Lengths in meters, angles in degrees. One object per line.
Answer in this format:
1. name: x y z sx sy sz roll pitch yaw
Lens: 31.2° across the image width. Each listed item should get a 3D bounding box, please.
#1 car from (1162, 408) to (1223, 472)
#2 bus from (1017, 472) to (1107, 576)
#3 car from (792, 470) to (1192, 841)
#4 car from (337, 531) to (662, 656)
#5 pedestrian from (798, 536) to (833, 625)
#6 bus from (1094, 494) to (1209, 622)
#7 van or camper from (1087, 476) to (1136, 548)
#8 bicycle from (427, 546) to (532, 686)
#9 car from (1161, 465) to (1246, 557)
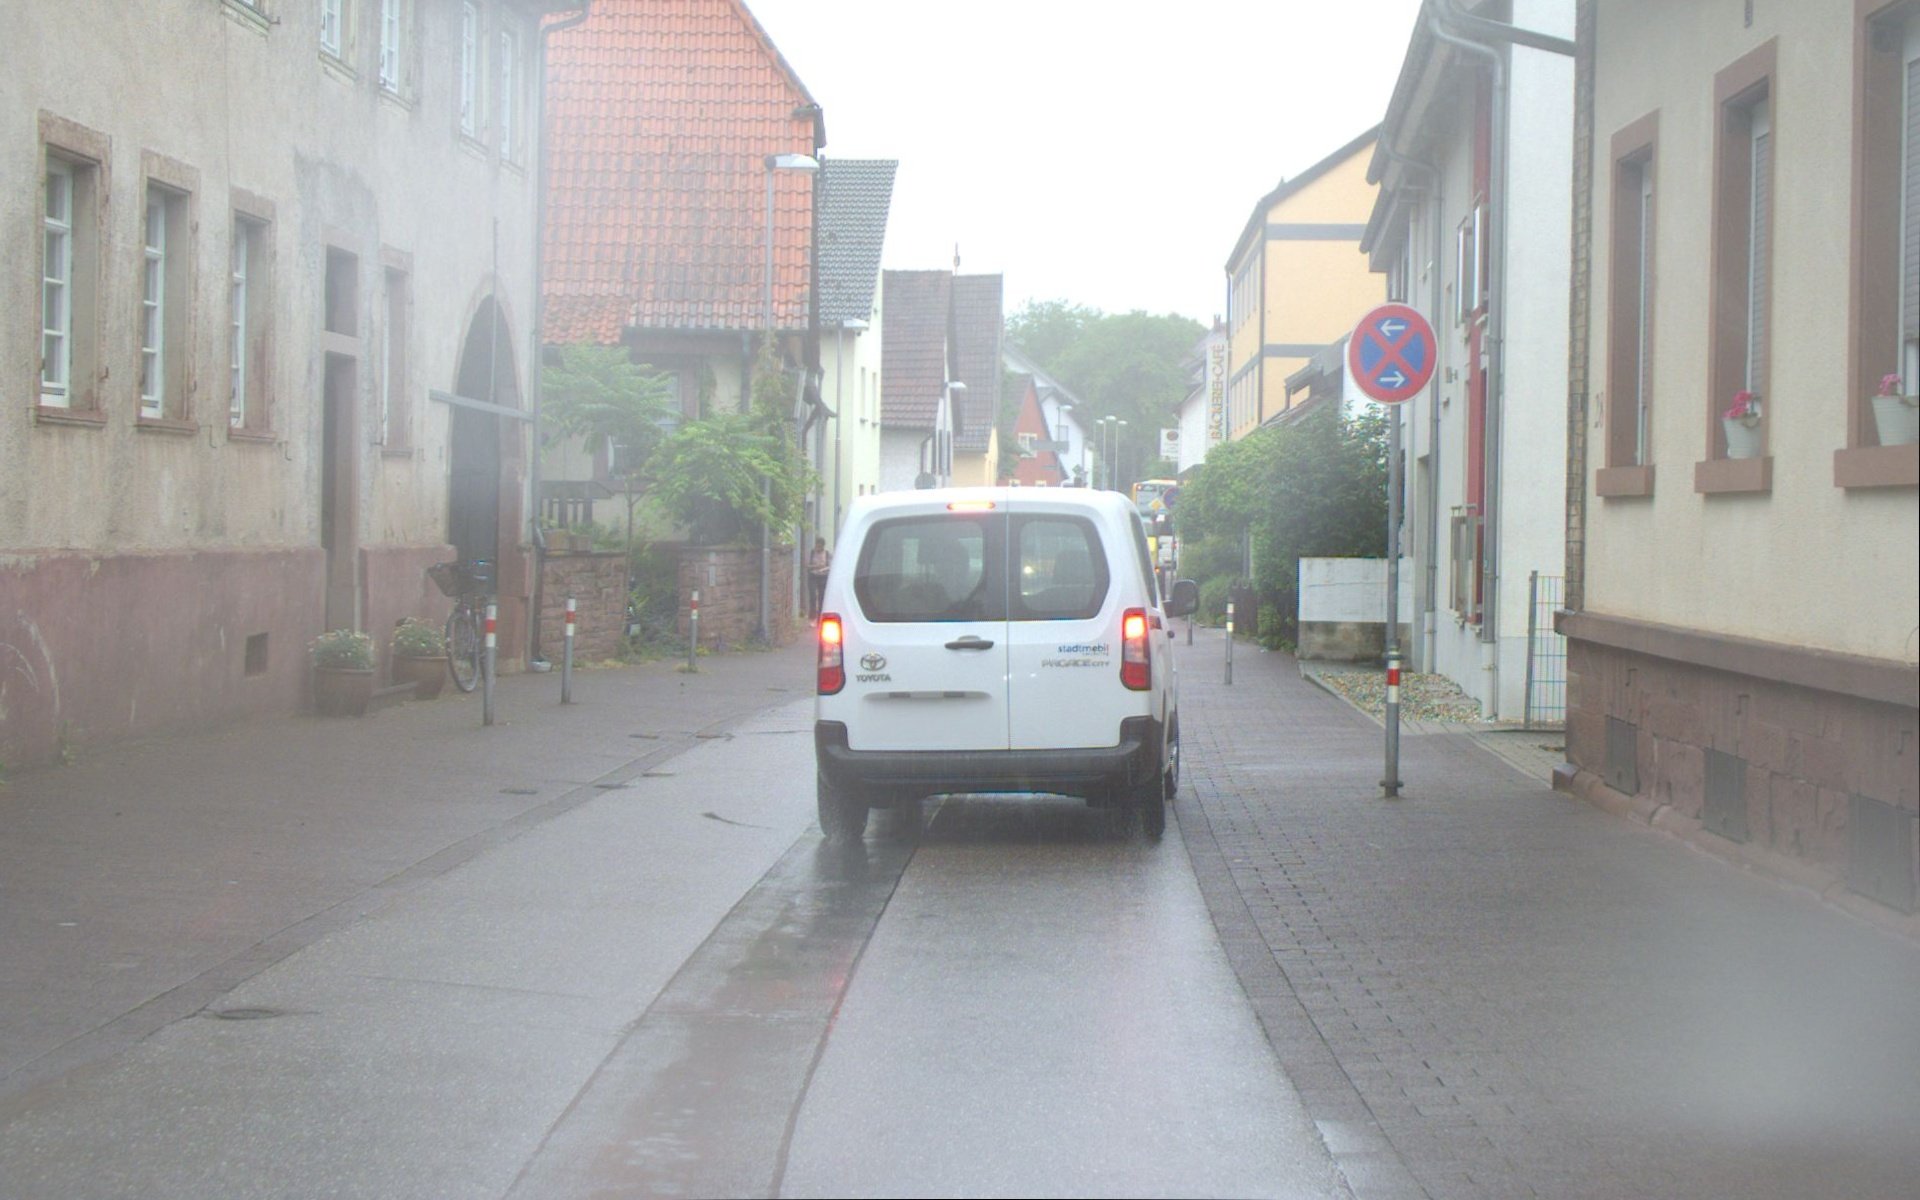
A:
1. car: 8.068 -5.541 119.448 1.994 2.007 3.999 2 0 4
2. bus: 3.572 -2.575 119.133 2.793 3.317 8.177 3 0 3
3. car: 0.288 0.261 18.921 1.795 1.812 4.100 0 0 6
4. car: -5.429 -0.096 40.730 3.528 1.371 1.594 1 1 5
5. pedestrian: -2.479 -0.331 59.034 0.567 1.525 0.569 0 1 -6
6. bus: 5.137 -1.113 92.754 2.793 3.169 8.177 3 0 3
7. van or camper: 6.550 -3.766 148.383 1.835 2.915 5.362 2 0 4
8. bicycle: -4.216 0.129 30.274 0.483 1.176 1.835 2 0 5
9. car: 5.665 -2.063 80.293 1.827 2.007 3.693 2 0 3
